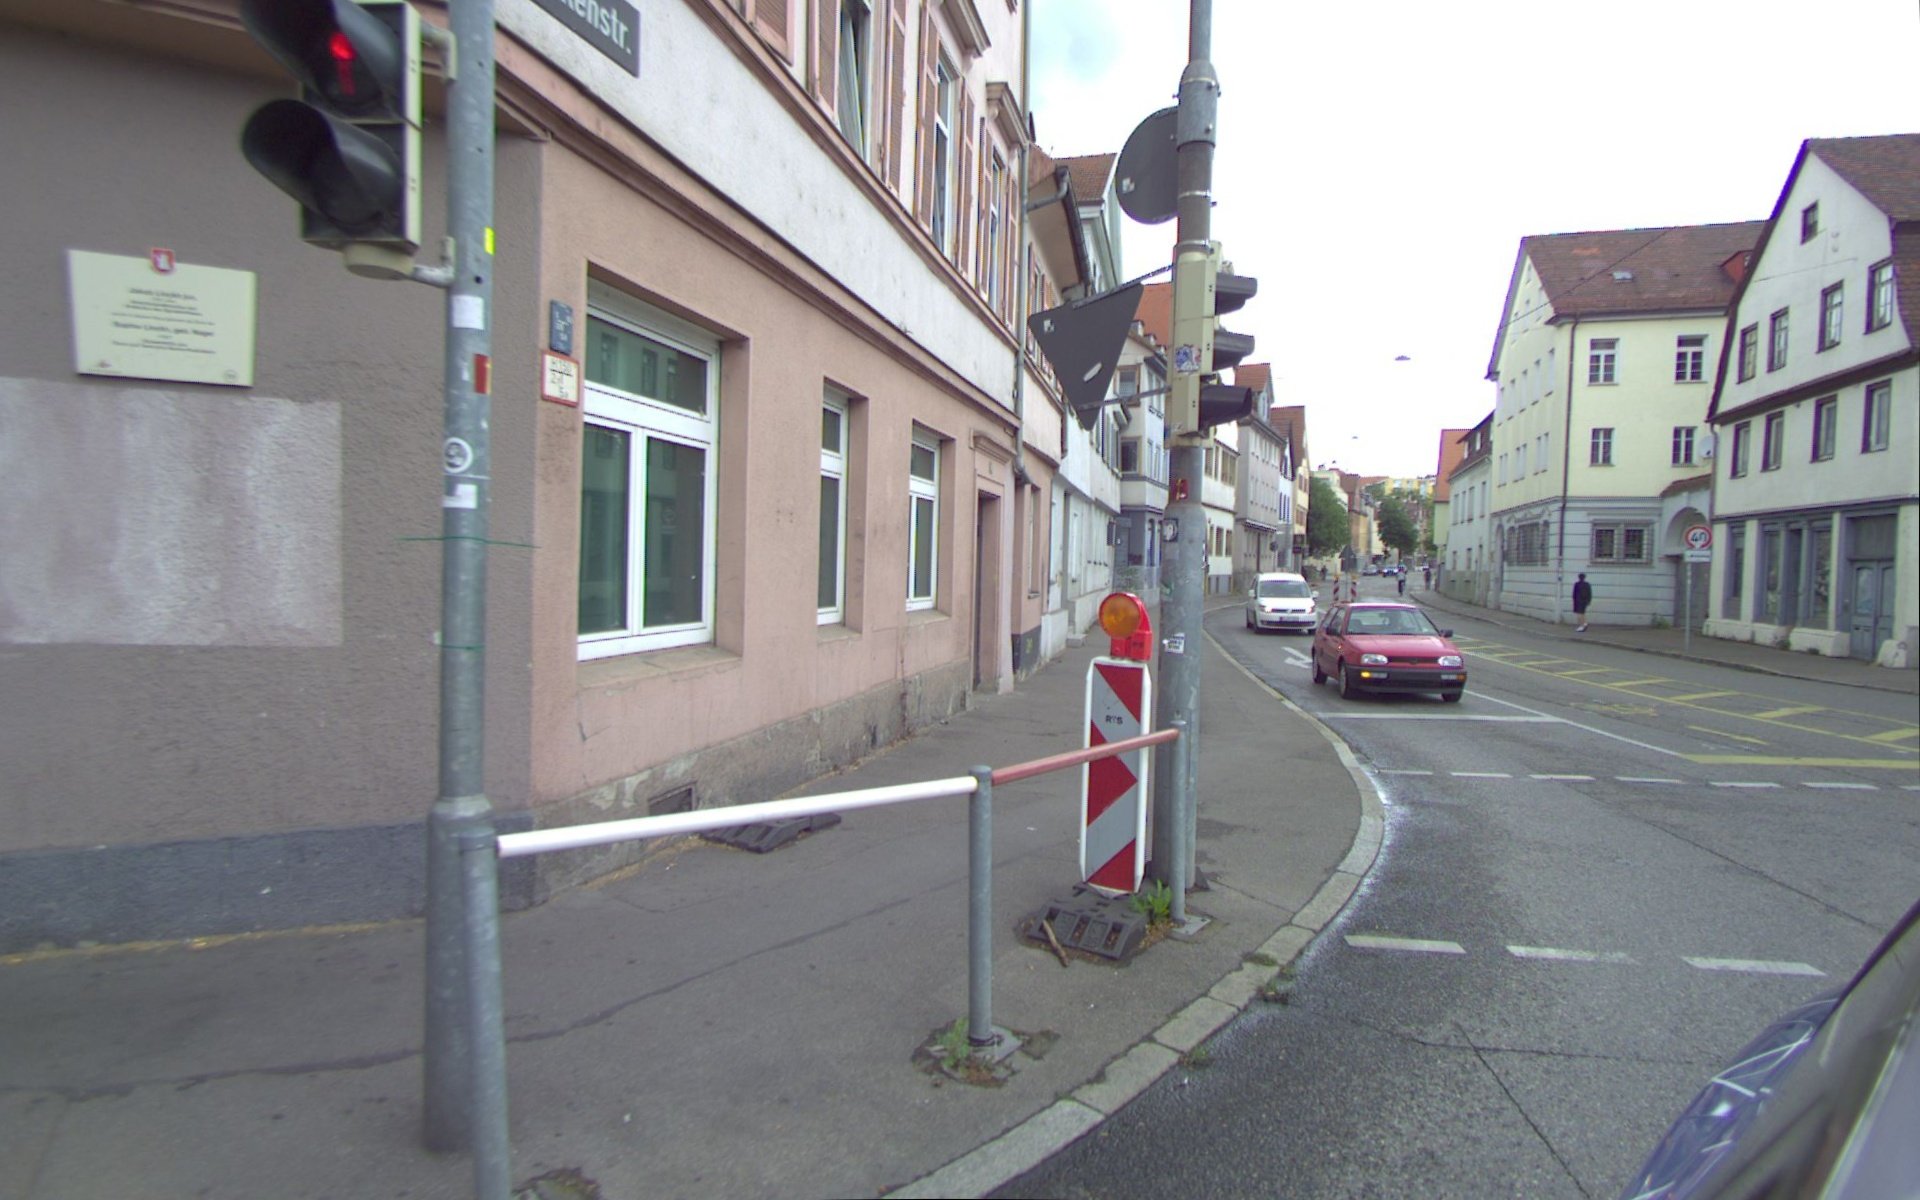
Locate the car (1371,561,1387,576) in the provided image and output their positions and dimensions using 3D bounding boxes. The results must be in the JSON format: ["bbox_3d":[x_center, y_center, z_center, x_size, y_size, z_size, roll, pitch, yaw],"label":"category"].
[{"bbox_3d":[61.313,-4.588,148.185,1.979,2.038,3.968,2,2,24],"label":"car"}]

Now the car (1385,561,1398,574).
[{"bbox_3d":[71.215,-5.347,167.001,1.979,2.038,3.968,2,2,24],"label":"car"}]

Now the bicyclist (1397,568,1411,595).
[{"bbox_3d":[29.469,-1.237,67.157,0.718,1.722,0.803,2,1,27],"label":"bicyclist"}]

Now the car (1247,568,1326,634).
[{"bbox_3d":[9.779,-0.037,30.582,1.778,1.813,4.333,2,2,12],"label":"car"}]

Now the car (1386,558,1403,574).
[{"bbox_3d":[58.905,-4.628,137.091,1.979,2.038,3.968,2,2,24],"label":"car"}]

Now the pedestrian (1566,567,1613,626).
[{"bbox_3d":[20.871,-0.113,33.569,1.043,1.910,1.086,0,0,16],"label":"pedestrian"}]

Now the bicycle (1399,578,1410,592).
[{"bbox_3d":[29.573,-1.029,67.365,0.538,0.903,1.862,2,2,27],"label":"bicycle"}]

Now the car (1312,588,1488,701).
[{"bbox_3d":[6.777,0.603,16.015,1.777,1.485,3.986,-1,1,12],"label":"car"}]

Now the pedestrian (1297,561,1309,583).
[{"bbox_3d":[32.155,-2.614,94.892,0.863,1.924,0.895,3,-1,6],"label":"pedestrian"}]
